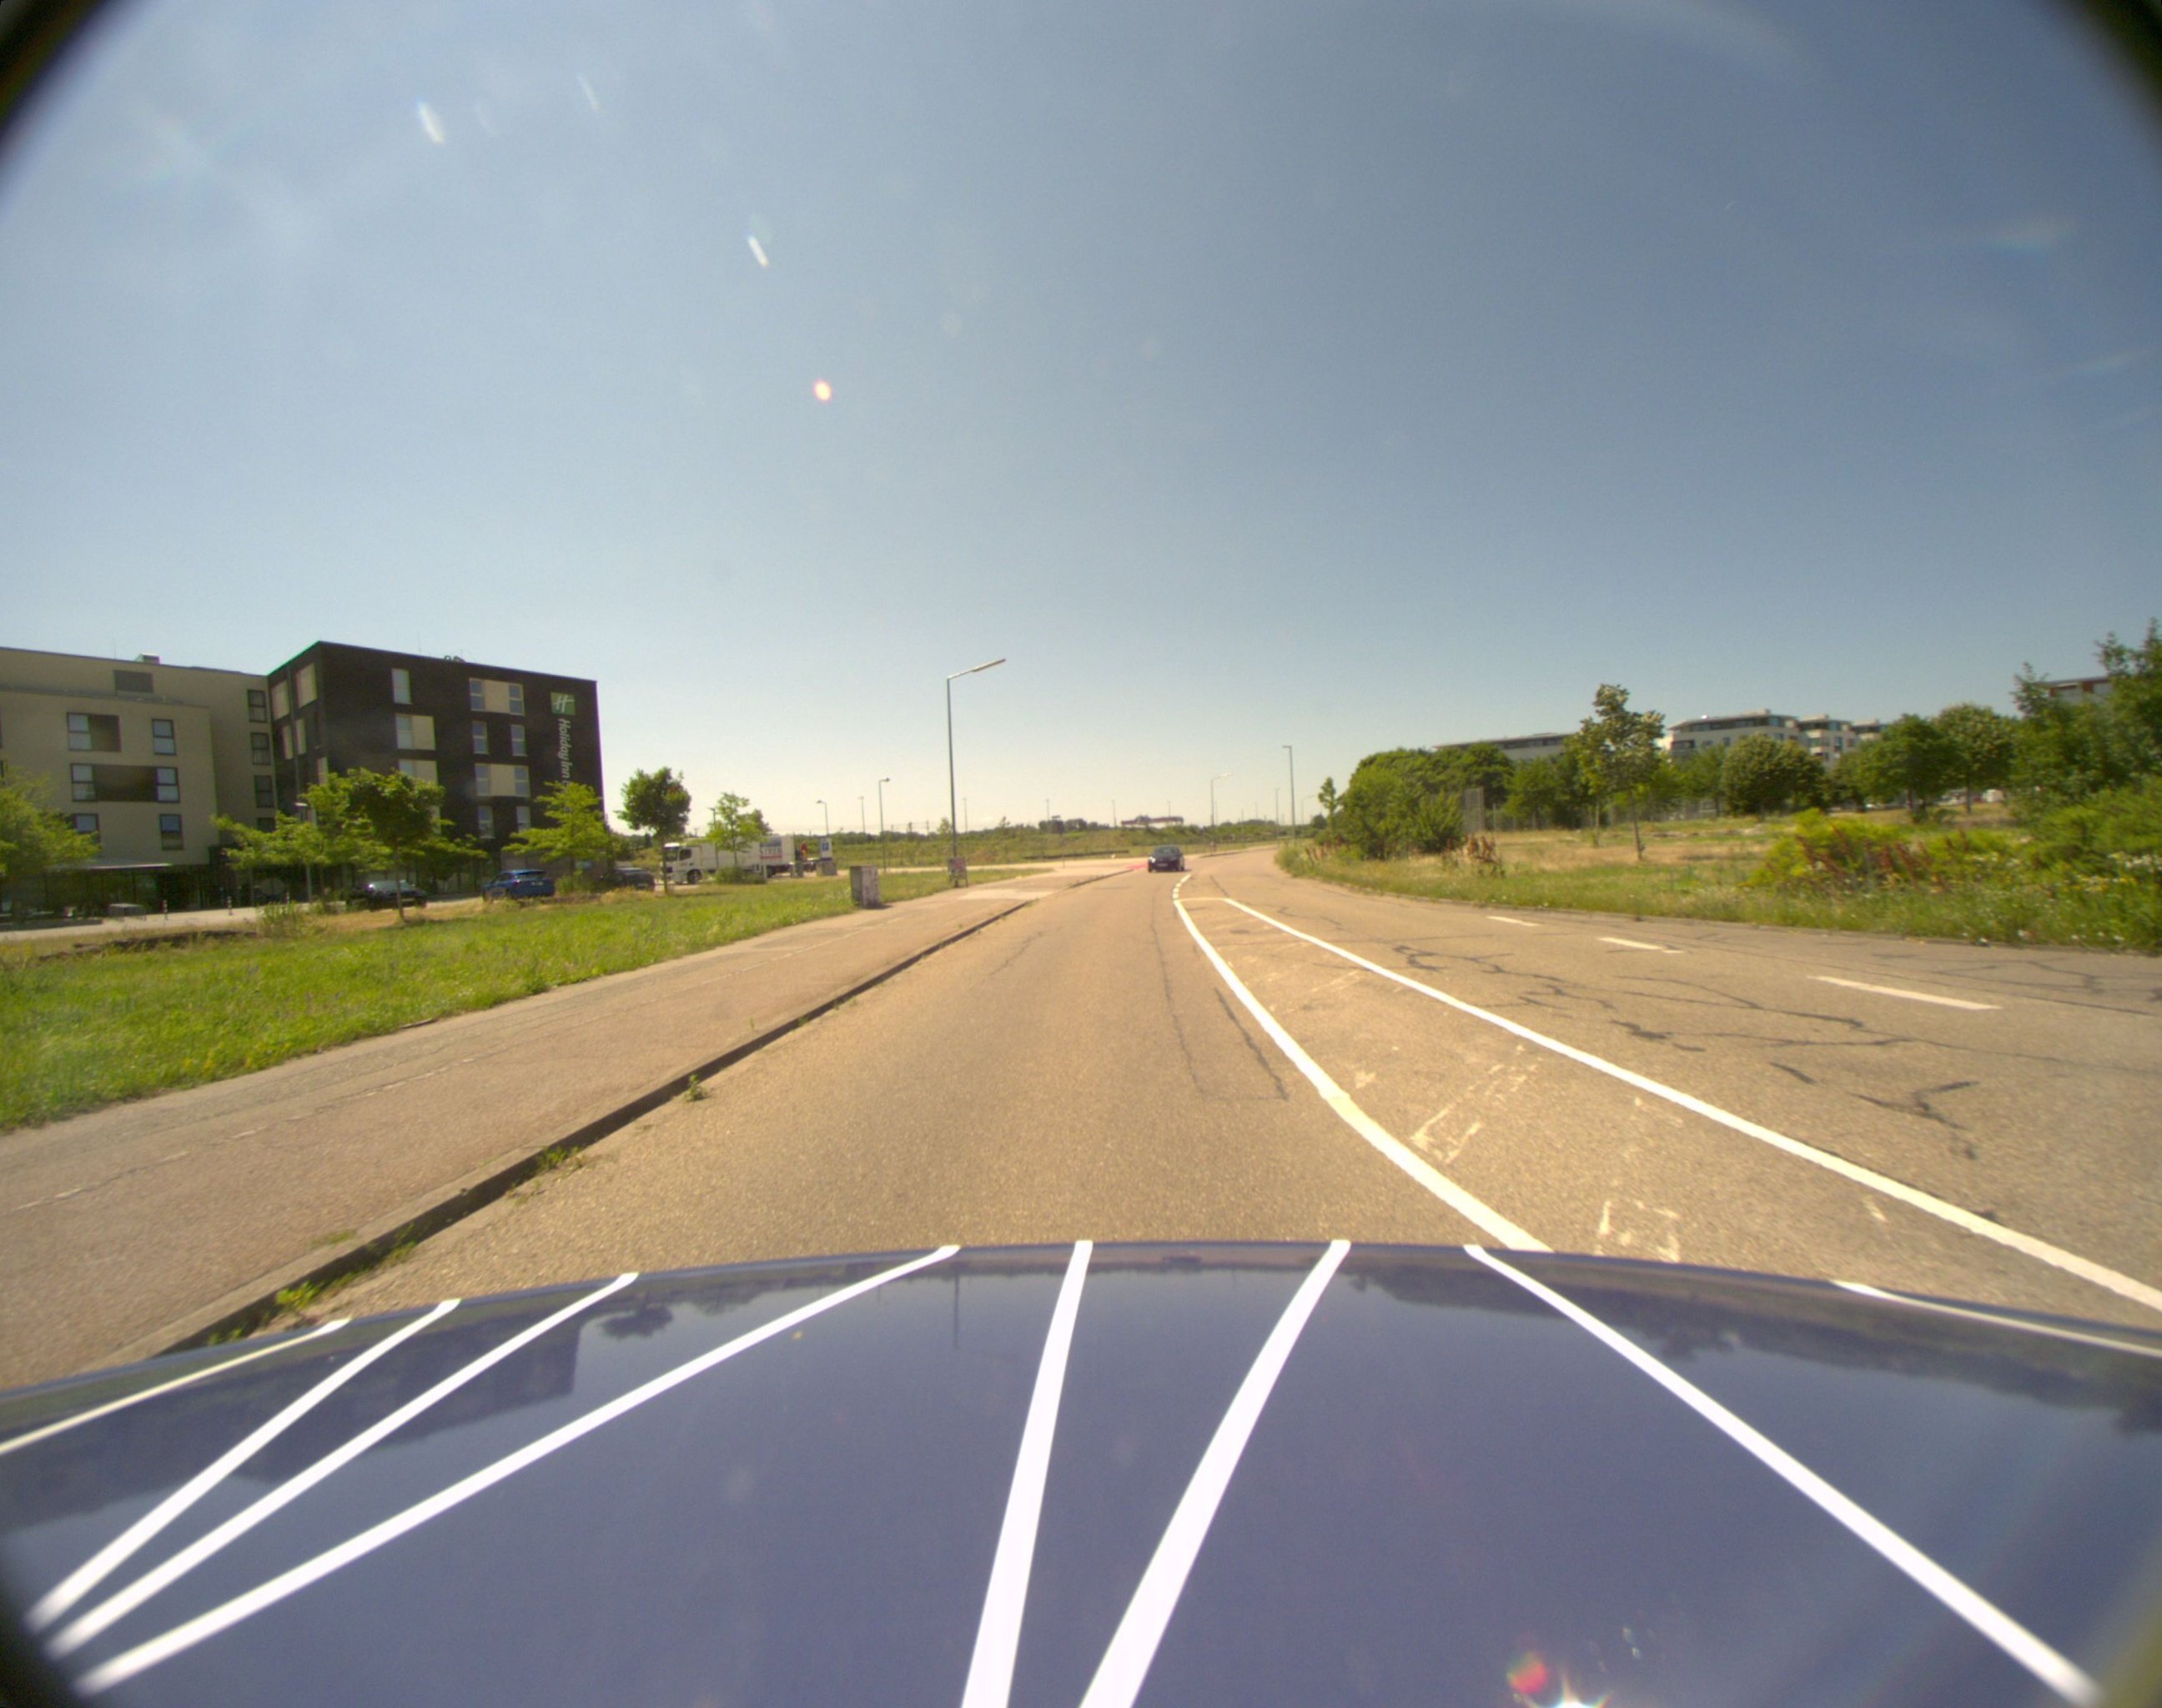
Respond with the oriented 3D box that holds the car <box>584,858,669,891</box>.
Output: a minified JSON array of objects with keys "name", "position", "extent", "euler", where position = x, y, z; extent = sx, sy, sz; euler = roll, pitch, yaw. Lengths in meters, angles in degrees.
[{"name":"car","position":[-24.684,1.117,41.230],"extent":[4.496,1.553,2.035],"euler":[-2,1,32]}]

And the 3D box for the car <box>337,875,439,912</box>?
[{"name":"car","position":[-30.562,1.740,33.508],"extent":[4.116,1.436,1.965],"euler":[-2,2,28]}]

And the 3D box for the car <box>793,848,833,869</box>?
[{"name":"car","position":[-27.638,0.458,78.428],"extent":[3.905,2.002,1.884],"euler":[-2,1,36]}]

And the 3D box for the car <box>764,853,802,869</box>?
[{"name":"car","position":[-31.981,0.753,81.435],"extent":[4.034,1.548,1.752],"euler":[-2,1,34]}]

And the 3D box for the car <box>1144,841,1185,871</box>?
[{"name":"car","position":[4.638,0.084,41.900],"extent":[1.652,1.458,4.163],"euler":[-3,1,14]}]

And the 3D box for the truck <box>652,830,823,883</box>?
[{"name":"truck","position":[-26.340,0.034,59.279],"extent":[3.010,3.443,12.160],"euler":[0,3,35]}]

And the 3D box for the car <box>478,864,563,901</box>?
[{"name":"car","position":[-27.796,1.438,37.659],"extent":[4.060,1.642,1.958],"euler":[-2,2,33]}]
